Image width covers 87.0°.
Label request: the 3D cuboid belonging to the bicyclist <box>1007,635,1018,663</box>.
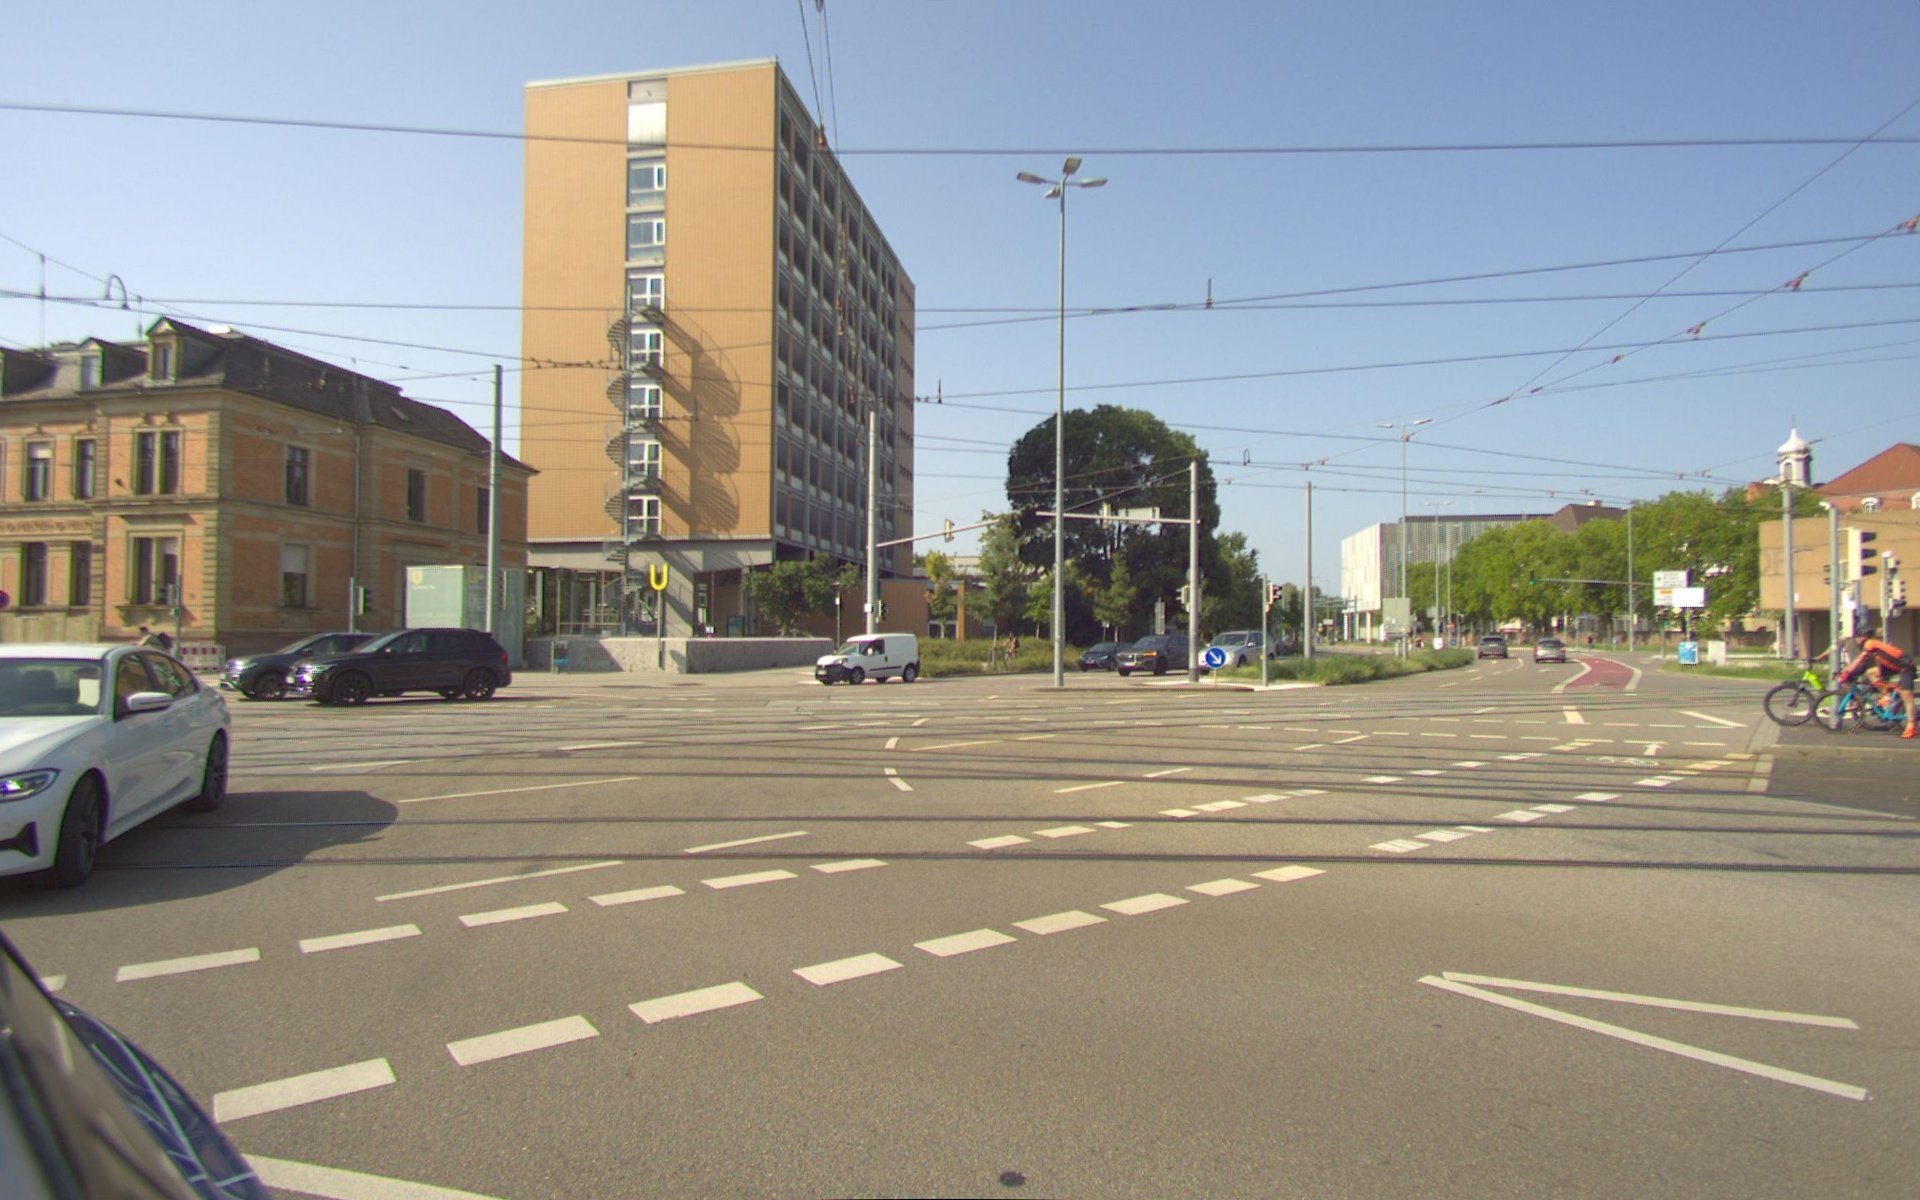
[{"bbox_3d":[2.856,2.670,55.055,0.397,1.491,0.541,-2,-3,40],"label":"bicyclist"}]

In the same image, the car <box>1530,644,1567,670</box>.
[{"bbox_3d":[35.745,3.445,61.510,1.774,1.519,3.961,-1,-3,28],"label":"car"}]

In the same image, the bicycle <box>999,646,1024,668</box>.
[{"bbox_3d":[2.805,3.083,54.889,0.401,1.203,1.749,-2,-3,39],"label":"bicycle"}]

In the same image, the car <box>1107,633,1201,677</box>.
[{"bbox_3d":[8.085,2.276,41.979,1.925,1.720,4.231,-5,-5,40],"label":"car"}]

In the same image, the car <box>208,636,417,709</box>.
[{"bbox_3d":[-15.530,1.697,24.422,1.744,1.594,3.920,-3,-4,42],"label":"car"}]

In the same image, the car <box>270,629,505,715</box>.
[{"bbox_3d":[-12.656,1.562,22.587,1.767,1.720,4.231,-5,-5,40],"label":"car"}]

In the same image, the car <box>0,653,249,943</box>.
[{"bbox_3d":[-6.582,1.118,6.907,1.783,1.438,4.789,1,-2,-22],"label":"car"}]

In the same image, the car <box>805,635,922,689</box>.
[{"bbox_3d":[-3.517,2.280,37.495,1.794,1.901,4.231,-5,-5,40],"label":"car"}]

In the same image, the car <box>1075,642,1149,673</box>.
[{"bbox_3d":[7.699,2.860,50.922,1.673,1.476,4.231,-5,-5,40],"label":"car"}]

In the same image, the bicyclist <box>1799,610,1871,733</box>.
[{"bbox_3d":[14.569,1.177,16.875,0.806,1.989,0.574,-2,-3,38],"label":"bicyclist"}]

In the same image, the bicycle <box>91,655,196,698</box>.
[{"bbox_3d":[-22.078,2.060,27.413,2.152,1.104,0.530,2,-3,-39],"label":"bicycle"}]

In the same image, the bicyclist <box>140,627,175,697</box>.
[{"bbox_3d":[-21.873,1.680,27.595,0.699,1.876,0.783,2,-3,-38],"label":"bicyclist"}]

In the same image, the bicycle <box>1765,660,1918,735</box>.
[{"bbox_3d":[14.607,1.595,16.827,1.857,1.174,0.372,-2,-3,39],"label":"bicycle"}]

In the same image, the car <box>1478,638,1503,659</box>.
[{"bbox_3d":[37.687,3.452,71.907,1.487,1.462,3.490,-1,-3,28],"label":"car"}]

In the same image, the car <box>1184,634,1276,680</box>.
[{"bbox_3d":[10.912,2.296,40.734,1.950,1.720,4.233,-4,-5,39],"label":"car"}]

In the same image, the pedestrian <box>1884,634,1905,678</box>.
[{"bbox_3d":[39.001,2.331,42.236,0.549,1.782,0.404,1,-3,-21],"label":"pedestrian"}]

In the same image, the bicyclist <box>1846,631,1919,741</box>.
[{"bbox_3d":[14.240,1.310,15.579,0.806,1.642,0.505,-2,-3,38],"label":"bicyclist"}]

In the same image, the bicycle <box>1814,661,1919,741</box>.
[{"bbox_3d":[14.196,1.544,15.629,1.497,1.174,0.307,-2,-3,39],"label":"bicycle"}]
